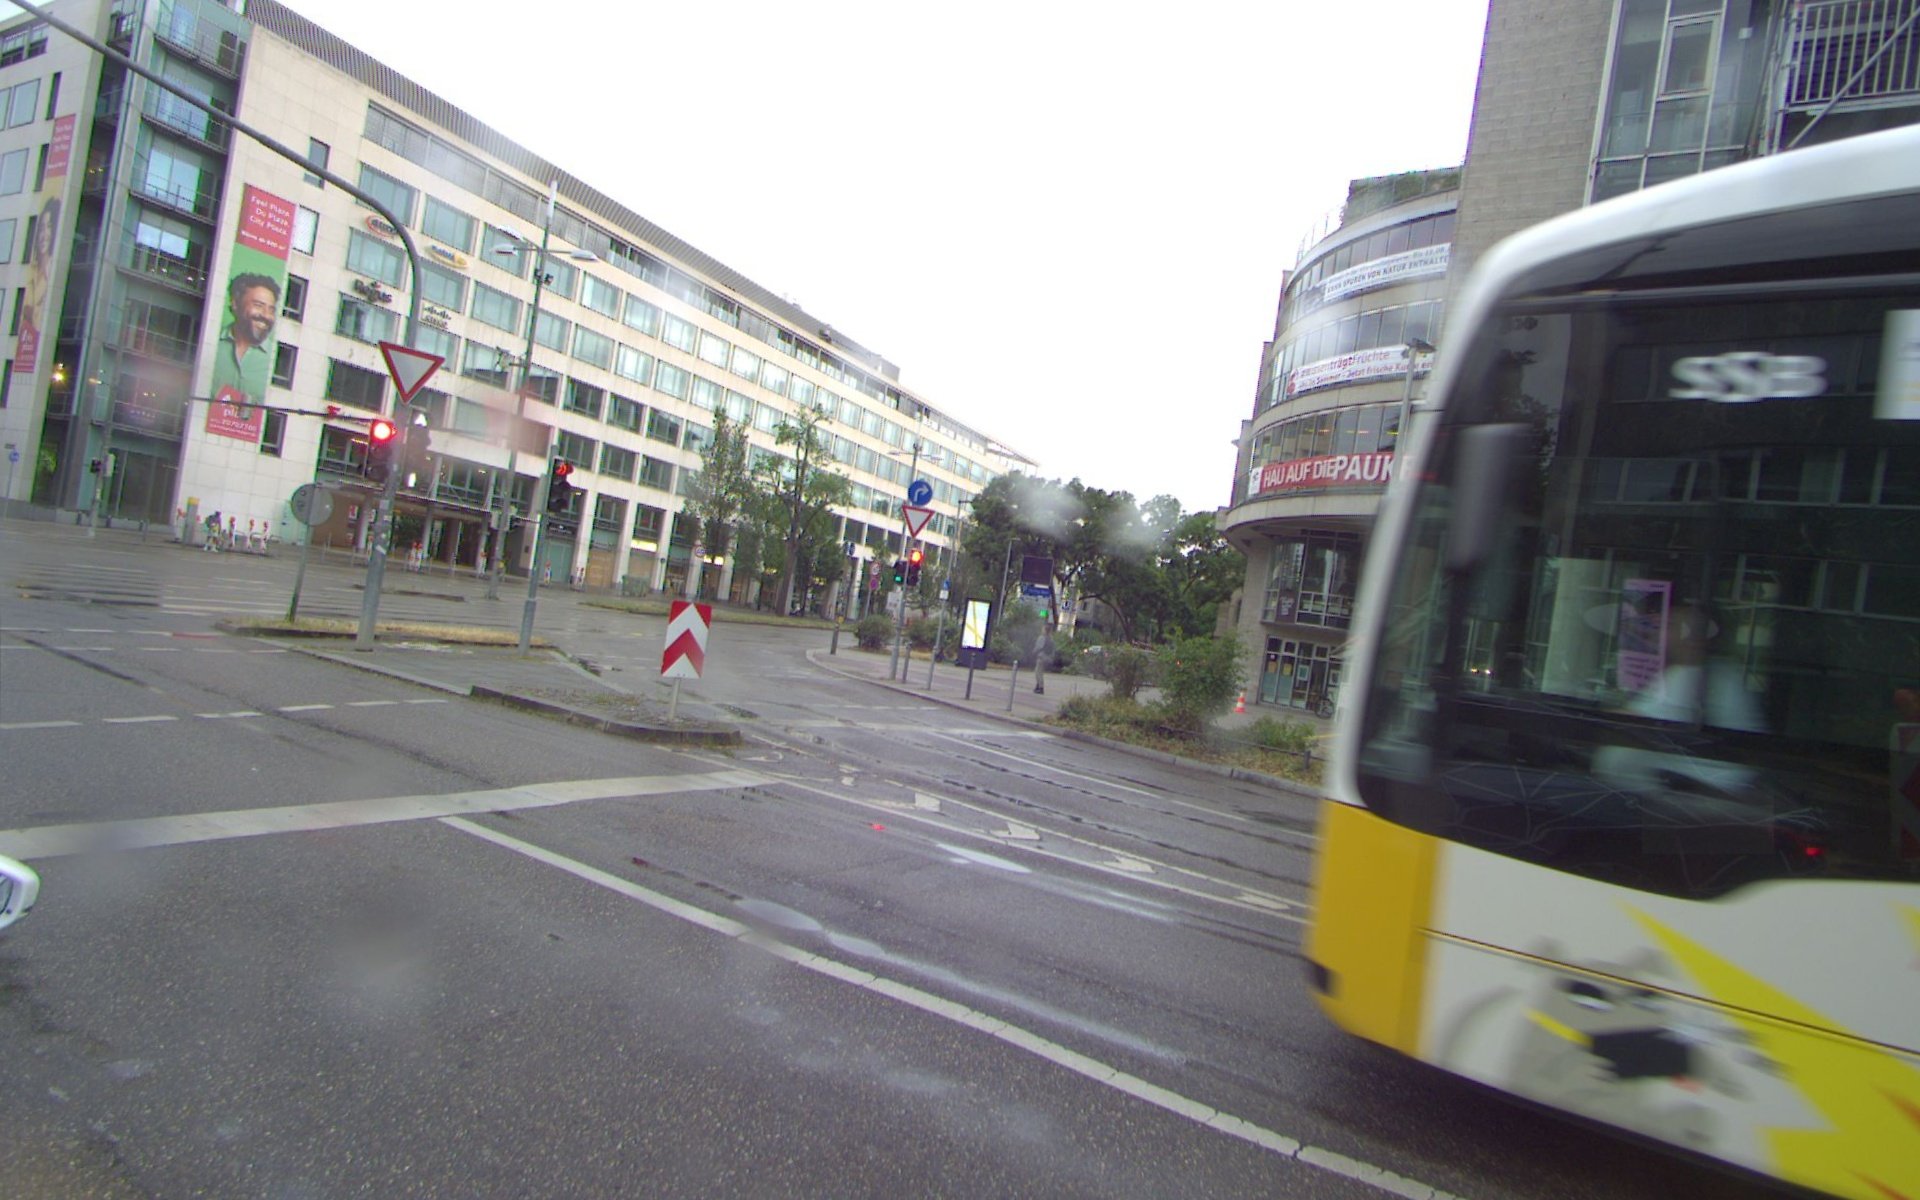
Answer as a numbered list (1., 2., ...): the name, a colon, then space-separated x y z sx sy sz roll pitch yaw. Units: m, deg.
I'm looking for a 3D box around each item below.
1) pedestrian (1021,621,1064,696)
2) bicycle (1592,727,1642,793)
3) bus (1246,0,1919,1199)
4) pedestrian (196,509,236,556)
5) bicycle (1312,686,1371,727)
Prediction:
1. pedestrian: 2.110 1.485 25.709 0.776 1.796 0.781 7 -1 13
2. bicycle: 13.652 3.297 20.947 0.576 1.208 1.614 7 -2 27
3. bus: 5.951 0.565 2.081 9.596 3.490 2.888 6 -2 32
4. pedestrian: -32.144 -2.923 43.458 0.822 1.838 0.963 6 -1 31
5. bicycle: 13.464 3.753 35.518 1.753 1.208 0.586 6 -1 29
